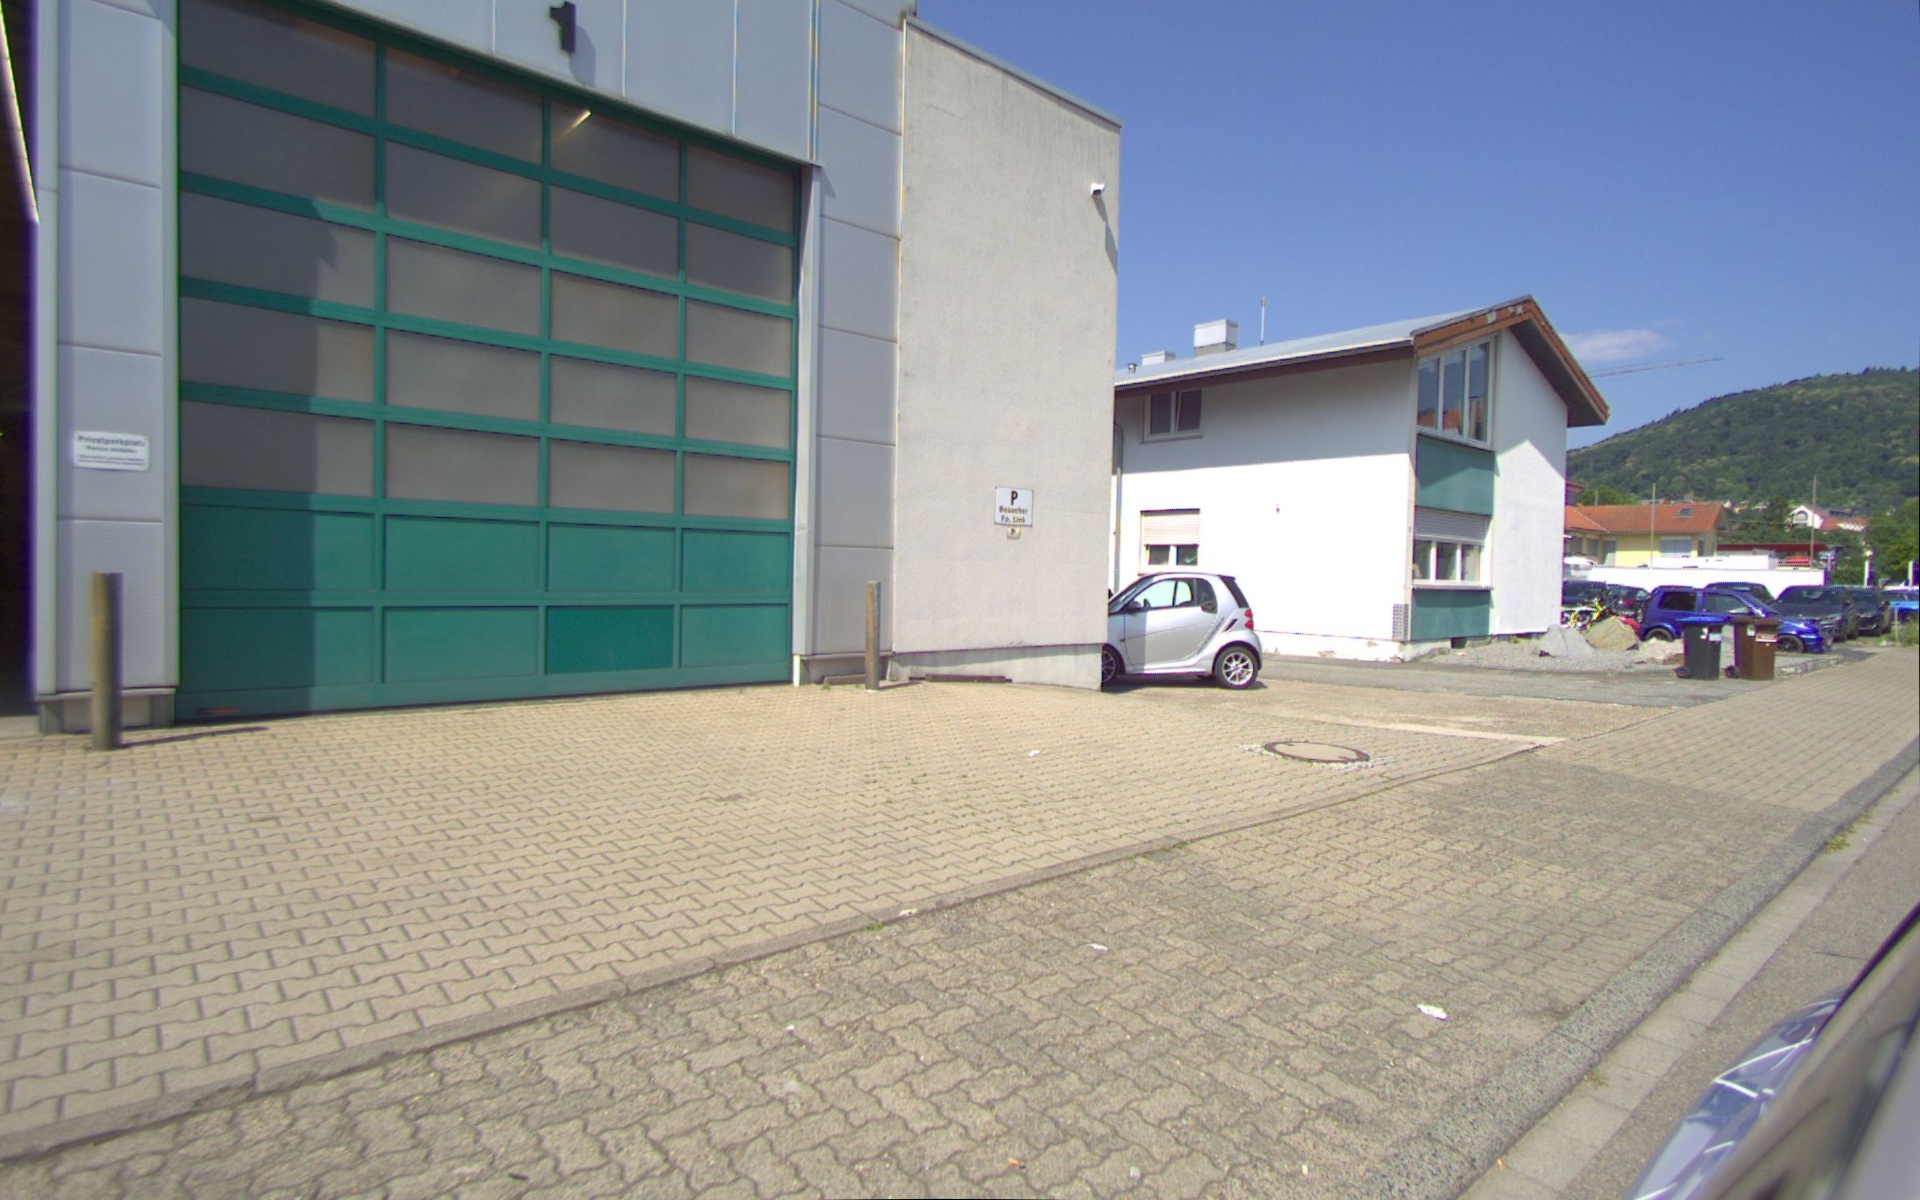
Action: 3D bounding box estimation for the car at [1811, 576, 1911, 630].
[{"bbox_3d":[29.059,0.050,32.579,4.867,1.587,1.861,-1,2,-42],"label":"car"}]

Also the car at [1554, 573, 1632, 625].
[{"bbox_3d":[21.044,-0.090,33.564,1.756,1.514,4.094,4,4,37],"label":"car"}]

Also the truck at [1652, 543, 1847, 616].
[{"bbox_3d":[40.688,-0.970,52.415,2.483,3.467,7.530,-1,-1,-40],"label":"truck"}]

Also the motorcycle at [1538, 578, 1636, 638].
[{"bbox_3d":[14.609,0.171,23.631,1.732,1.295,0.792,3,3,19],"label":"motorcycle"}]

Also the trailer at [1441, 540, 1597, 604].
[{"bbox_3d":[36.045,-1.858,65.597,3.010,3.910,8.362,-1,2,-35],"label":"trailer"}]

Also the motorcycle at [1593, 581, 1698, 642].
[{"bbox_3d":[16.081,0.252,23.775,0.783,1.295,1.871,-1,4,-43],"label":"motorcycle"}]

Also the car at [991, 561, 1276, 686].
[{"bbox_3d":[2.291,0.274,14.145,3.633,1.558,1.779,1,2,1],"label":"car"}]

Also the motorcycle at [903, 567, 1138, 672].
[{"bbox_3d":[0.922,0.262,16.310,3.541,1.510,1.779,1,2,1],"label":"motorcycle"}]

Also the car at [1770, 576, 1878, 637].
[{"bbox_3d":[24.946,0.131,29.183,4.219,1.577,1.814,-1,2,-42],"label":"car"}]

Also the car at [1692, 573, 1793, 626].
[{"bbox_3d":[25.439,-0.049,32.882,3.553,1.614,1.764,0,2,-38],"label":"car"}]

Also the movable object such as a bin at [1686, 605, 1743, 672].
[{"bbox_3d":[11.295,0.562,15.155,0.478,0.958,0.516,0,2,-30],"label":"movable object such as a bin"}]

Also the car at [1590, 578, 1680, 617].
[{"bbox_3d":[25.141,-0.139,37.664,4.027,1.341,1.646,-1,2,-39],"label":"car"}]

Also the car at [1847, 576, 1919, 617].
[{"bbox_3d":[42.840,-0.192,45.517,1.736,1.703,4.206,-2,-1,-41],"label":"car"}]

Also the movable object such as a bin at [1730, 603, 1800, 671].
[{"bbox_3d":[11.999,0.546,15.093,0.546,0.958,0.570,1,2,-8],"label":"movable object such as a bin"}]

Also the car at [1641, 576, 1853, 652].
[{"bbox_3d":[16.565,0.241,21.390,1.644,1.416,3.260,1,1,-40],"label":"car"}]

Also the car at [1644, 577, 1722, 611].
[{"bbox_3d":[34.452,-0.333,48.209,4.111,1.459,1.891,-1,4,-38],"label":"car"}]

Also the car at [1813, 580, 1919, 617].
[{"bbox_3d":[38.344,-0.081,41.944,1.859,1.460,4.359,0,0,-41],"label":"car"}]
